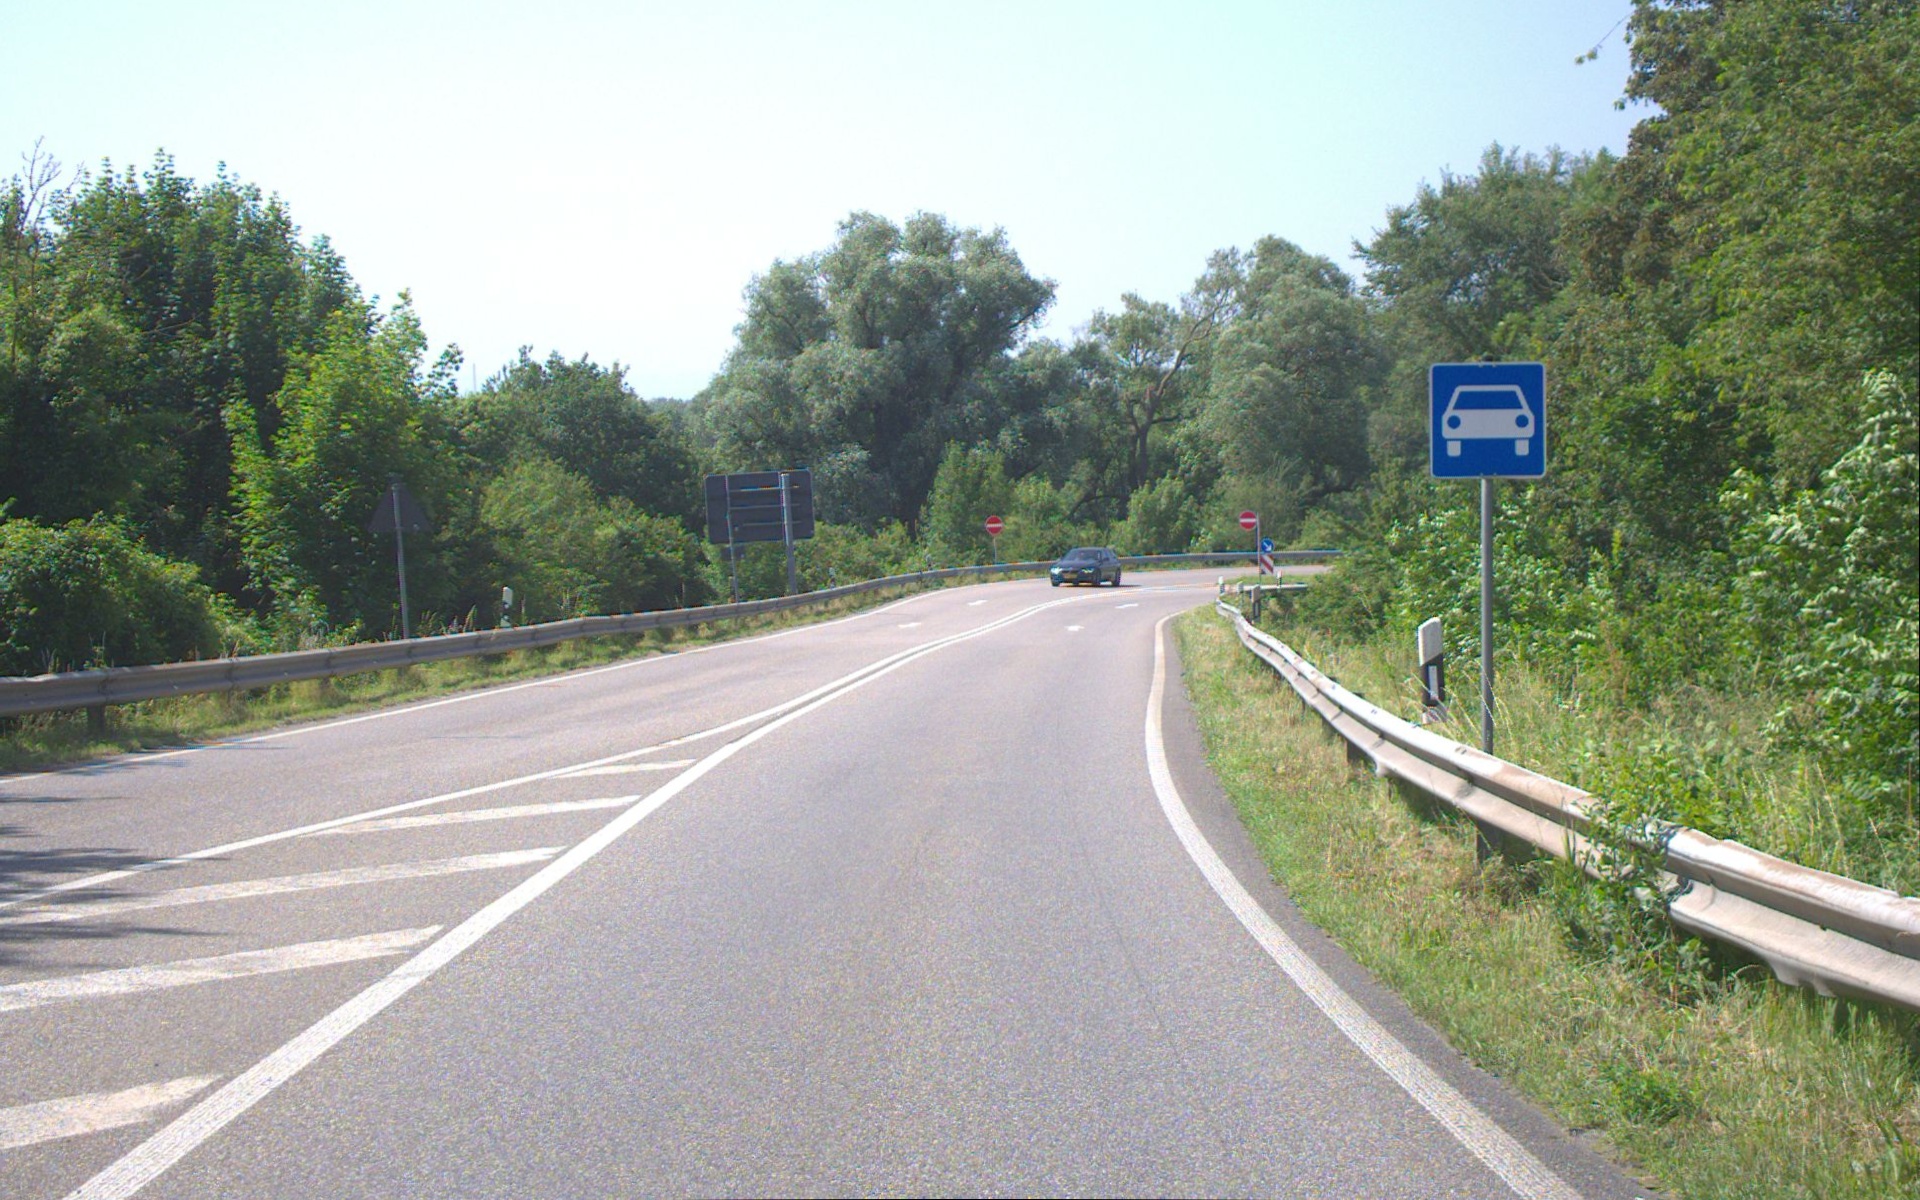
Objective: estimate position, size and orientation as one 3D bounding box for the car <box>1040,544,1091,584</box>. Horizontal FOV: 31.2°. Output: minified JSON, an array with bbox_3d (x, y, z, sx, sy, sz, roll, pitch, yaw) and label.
[{"bbox_3d":[3.950,-1.328,128.473,1.608,1.468,4.219,0,0,6],"label":"car"}]
